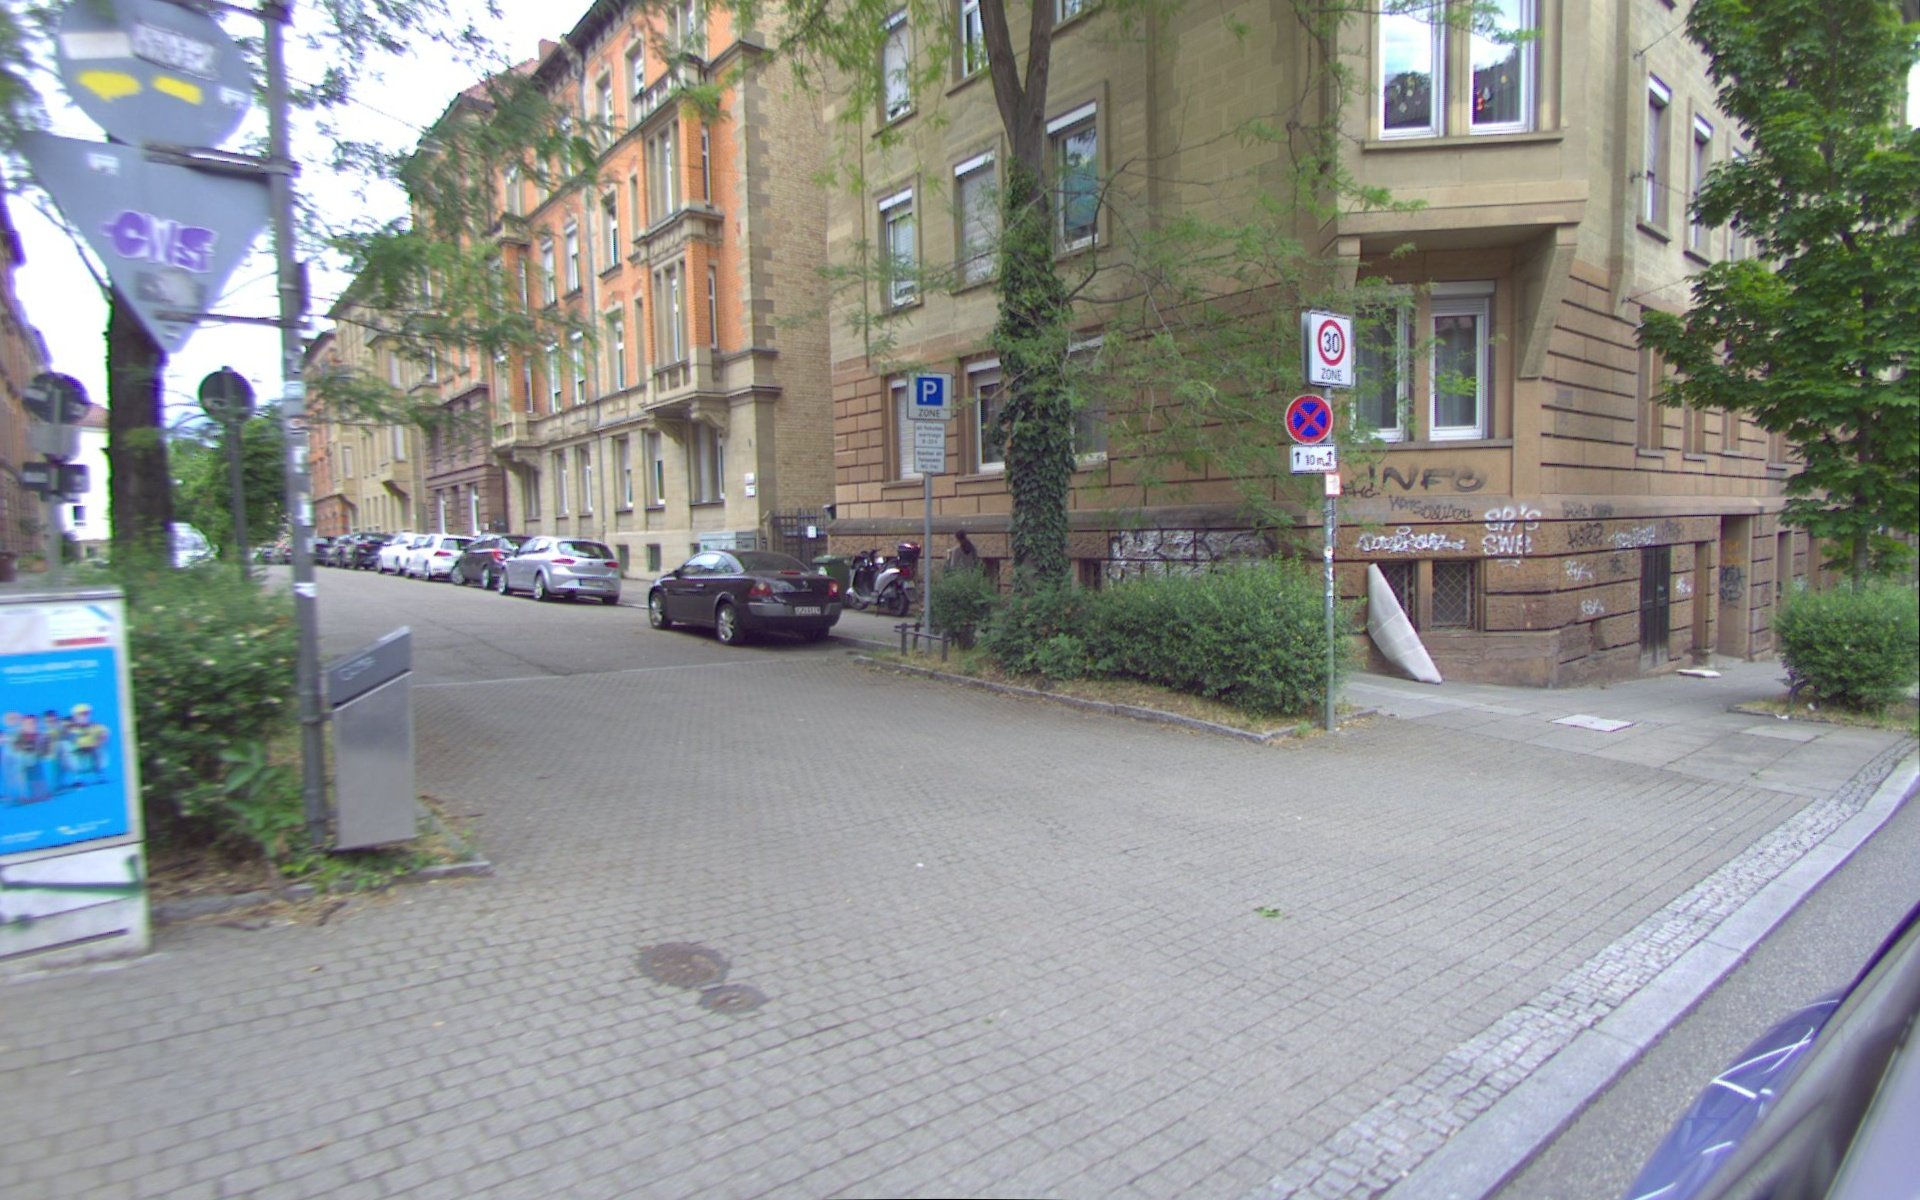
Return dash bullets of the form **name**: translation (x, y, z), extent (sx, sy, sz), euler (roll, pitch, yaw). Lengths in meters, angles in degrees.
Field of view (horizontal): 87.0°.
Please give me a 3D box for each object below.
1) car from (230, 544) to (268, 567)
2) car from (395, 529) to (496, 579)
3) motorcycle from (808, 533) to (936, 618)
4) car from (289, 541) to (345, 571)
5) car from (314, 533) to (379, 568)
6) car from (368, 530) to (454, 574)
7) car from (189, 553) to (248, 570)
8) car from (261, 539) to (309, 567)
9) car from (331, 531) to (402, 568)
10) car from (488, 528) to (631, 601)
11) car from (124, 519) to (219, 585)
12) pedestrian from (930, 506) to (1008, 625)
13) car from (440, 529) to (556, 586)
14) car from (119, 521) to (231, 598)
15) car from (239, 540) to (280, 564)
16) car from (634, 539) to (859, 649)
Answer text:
- **car**: translation (-50.168, -3.166, 71.343), extent (1.780, 1.395, 4.041), euler (0, 5, -41)
- **car**: translation (-15.609, -1.412, 30.616), extent (1.780, 1.396, 4.040), euler (0, 3, -41)
- **motorcycle**: translation (-1.691, -0.510, 18.875), extent (0.824, 1.452, 2.925), euler (-4, 5, -40)
- **car**: translation (-31.943, -2.174, 50.222), extent (1.780, 1.396, 4.039), euler (0, 2, -41)
- **car**: translation (-26.906, -2.136, 44.326), extent (1.780, 1.396, 4.039), euler (0, 1, -41)
- **car**: translation (-18.844, -1.677, 34.660), extent (1.780, 1.396, 4.040), euler (0, 3, -41)
- **car**: translation (-68.632, -3.579, 93.734), extent (1.793, 1.490, 4.066), euler (4, 4, 25)
- **car**: translation (-38.529, -2.694, 57.744), extent (1.780, 1.395, 4.041), euler (0, 5, -41)
- **car**: translation (-23.960, -1.992, 40.781), extent (1.780, 1.396, 4.039), euler (0, 2, -41)
- **car**: translation (-9.226, -0.842, 23.149), extent (1.780, 1.395, 4.096), euler (0, 5, -41)
- **car**: translation (-20.788, -1.290, 26.617), extent (1.780, 1.490, 4.097), euler (0, 5, -41)
- **pedestrian**: translation (0.138, -0.559, 15.310), extent (0.835, 1.705, 0.861), euler (-5, 8, -40)
- **car**: translation (-12.472, -1.170, 27.200), extent (1.780, 1.396, 4.040), euler (0, 3, -41)
- **car**: translation (-17.715, -0.954, 22.773), extent (1.780, 1.490, 4.097), euler (0, 5, -41)
- **car**: translation (-46.323, -3.191, 66.920), extent (1.780, 1.395, 4.041), euler (0, 5, -41)
- **car**: translation (-3.561, -0.183, 16.364), extent (1.780, 1.395, 4.096), euler (0, 5, -41)
